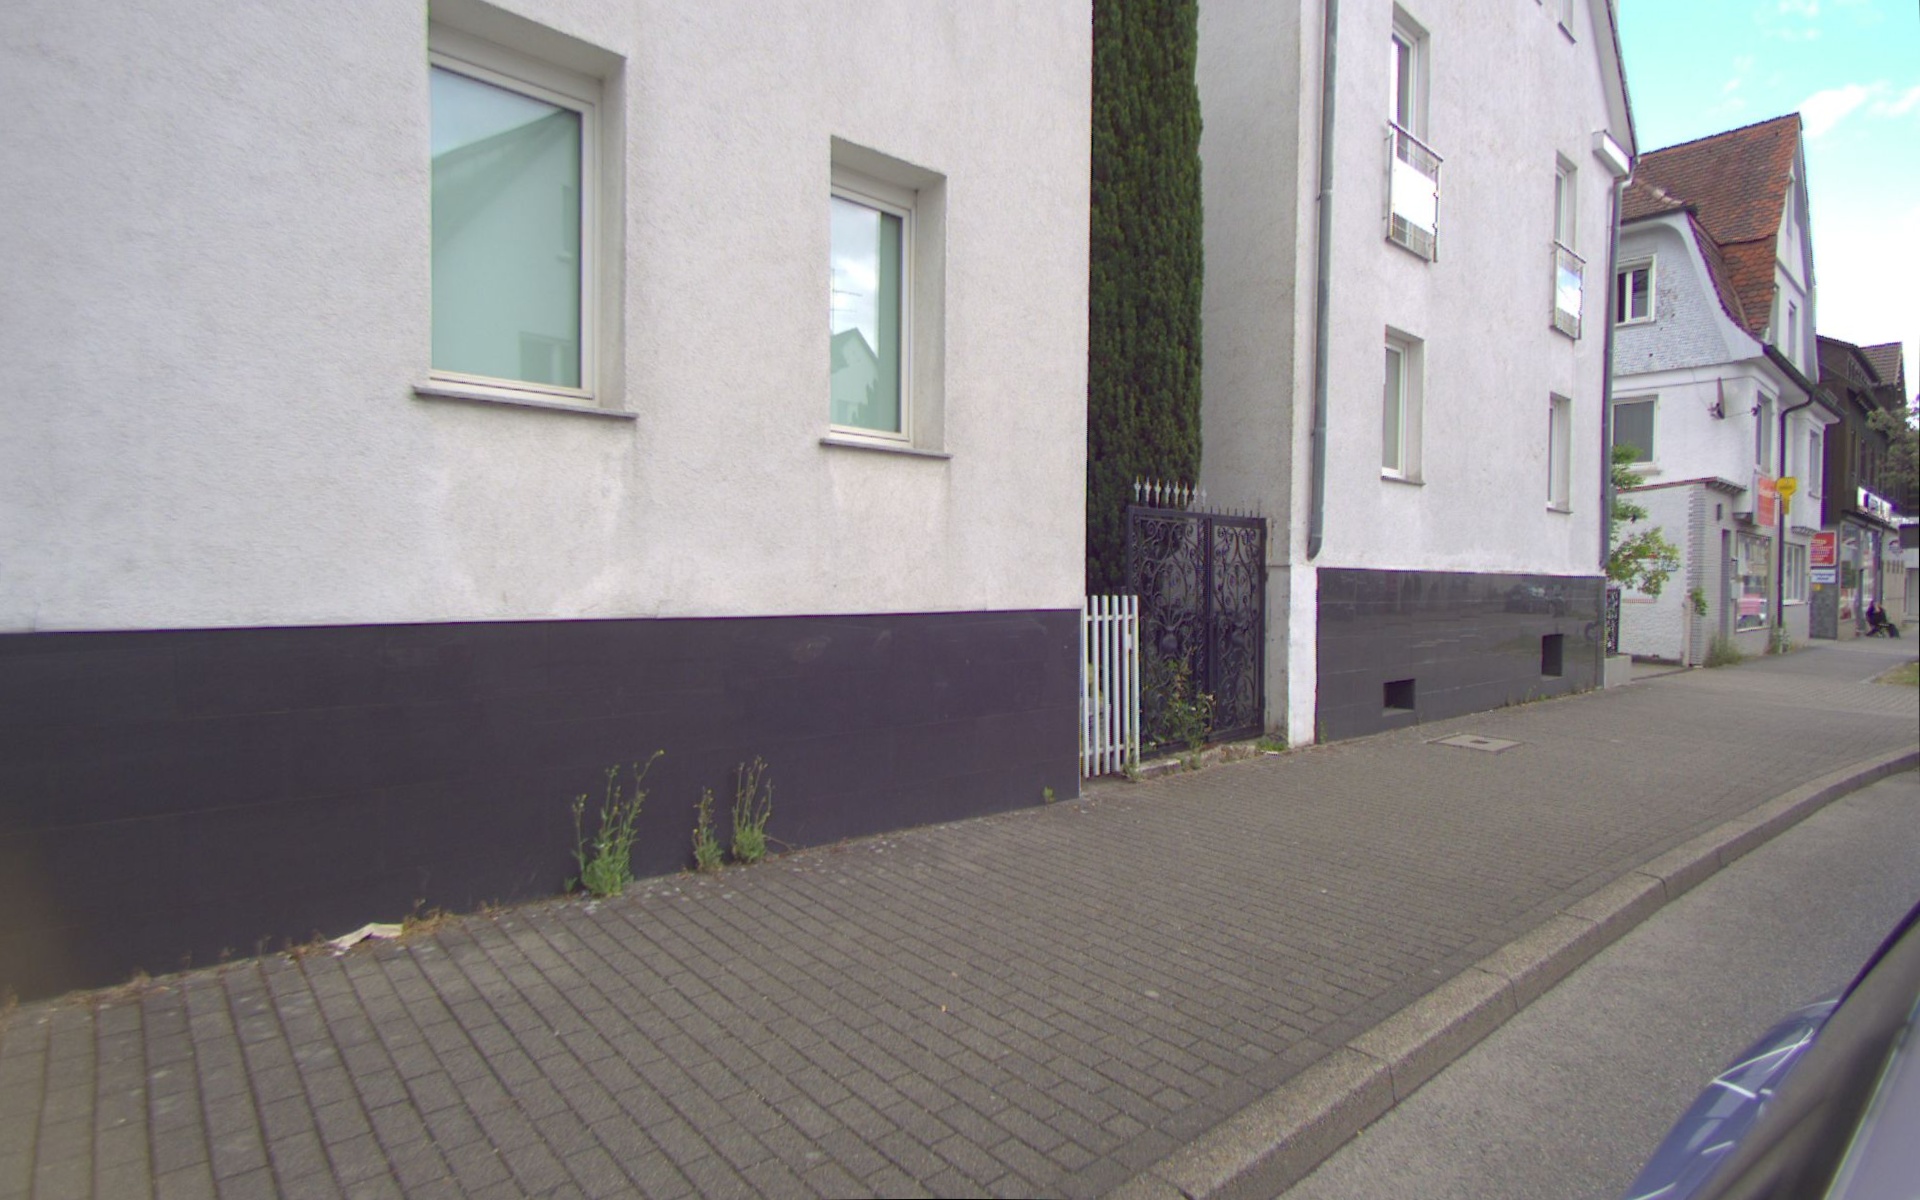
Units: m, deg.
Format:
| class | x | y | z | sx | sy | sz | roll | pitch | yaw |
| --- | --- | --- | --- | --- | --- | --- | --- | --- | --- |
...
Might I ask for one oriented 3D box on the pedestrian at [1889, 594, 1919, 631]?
| class | x | y | z | sx | sy | sz | roll | pitch | yaw |
| --- | --- | --- | --- | --- | --- | --- | --- | --- | --- |
| pedestrian | 32.816 | 0.416 | 35.139 | 0.633 | 1.226 | 0.741 | 0 | 2 | -42 |
